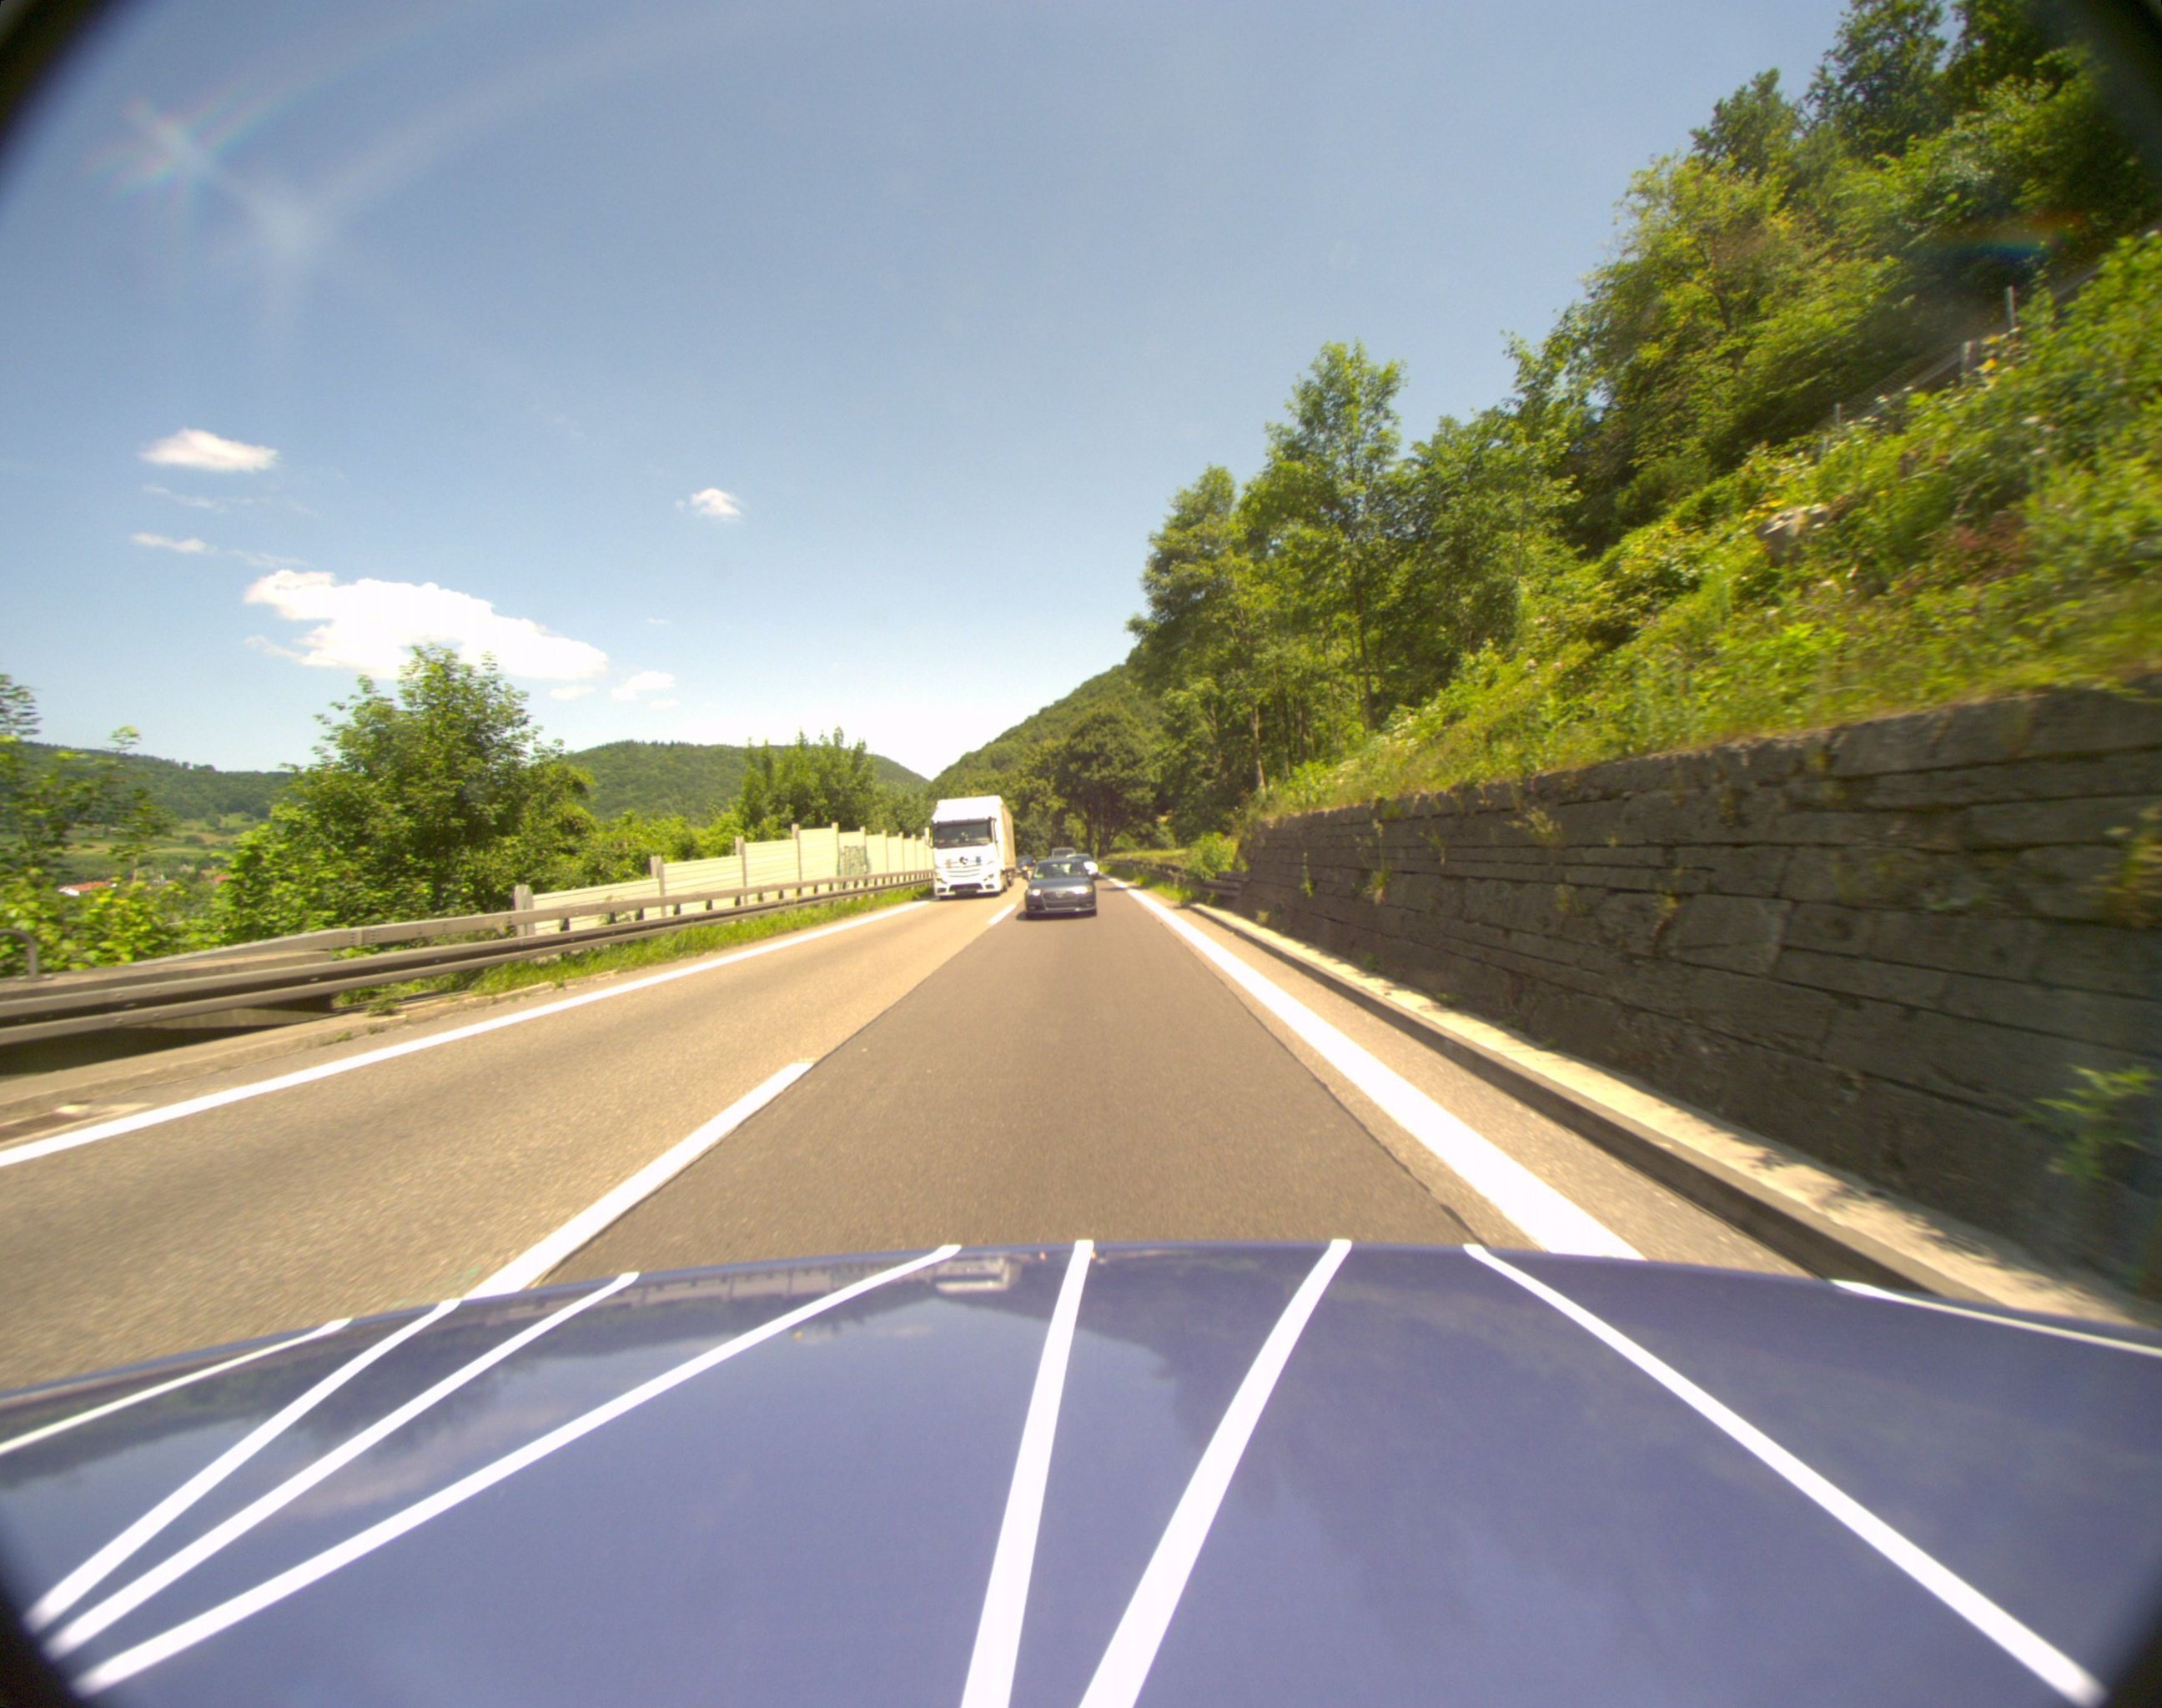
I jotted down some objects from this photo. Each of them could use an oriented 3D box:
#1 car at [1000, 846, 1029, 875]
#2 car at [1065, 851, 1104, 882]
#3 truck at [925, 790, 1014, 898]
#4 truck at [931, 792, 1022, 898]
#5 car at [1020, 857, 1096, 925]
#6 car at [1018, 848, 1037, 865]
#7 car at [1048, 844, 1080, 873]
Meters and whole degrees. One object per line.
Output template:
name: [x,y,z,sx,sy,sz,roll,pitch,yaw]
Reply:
car: [-5.119,0.480,59.213,1.999,2.002,3.998,-4,2,-3]
car: [0.151,0.643,41.557,1.716,1.541,3.998,-3,1,-5]
truck: [-4.482,-0.394,31.990,2.764,4.015,6.822,-2,1,-1]
truck: [-4.733,-0.447,37.083,2.862,4.124,12.042,-4,1,-2]
car: [-0.539,0.841,18.926,1.662,1.435,3.474,-3,0,-1]
car: [-6.682,0.269,94.403,2.000,2.002,3.997,-2,0,-9]
car: [-1.247,0.291,53.533,2.044,1.855,3.999,-4,0,-3]
